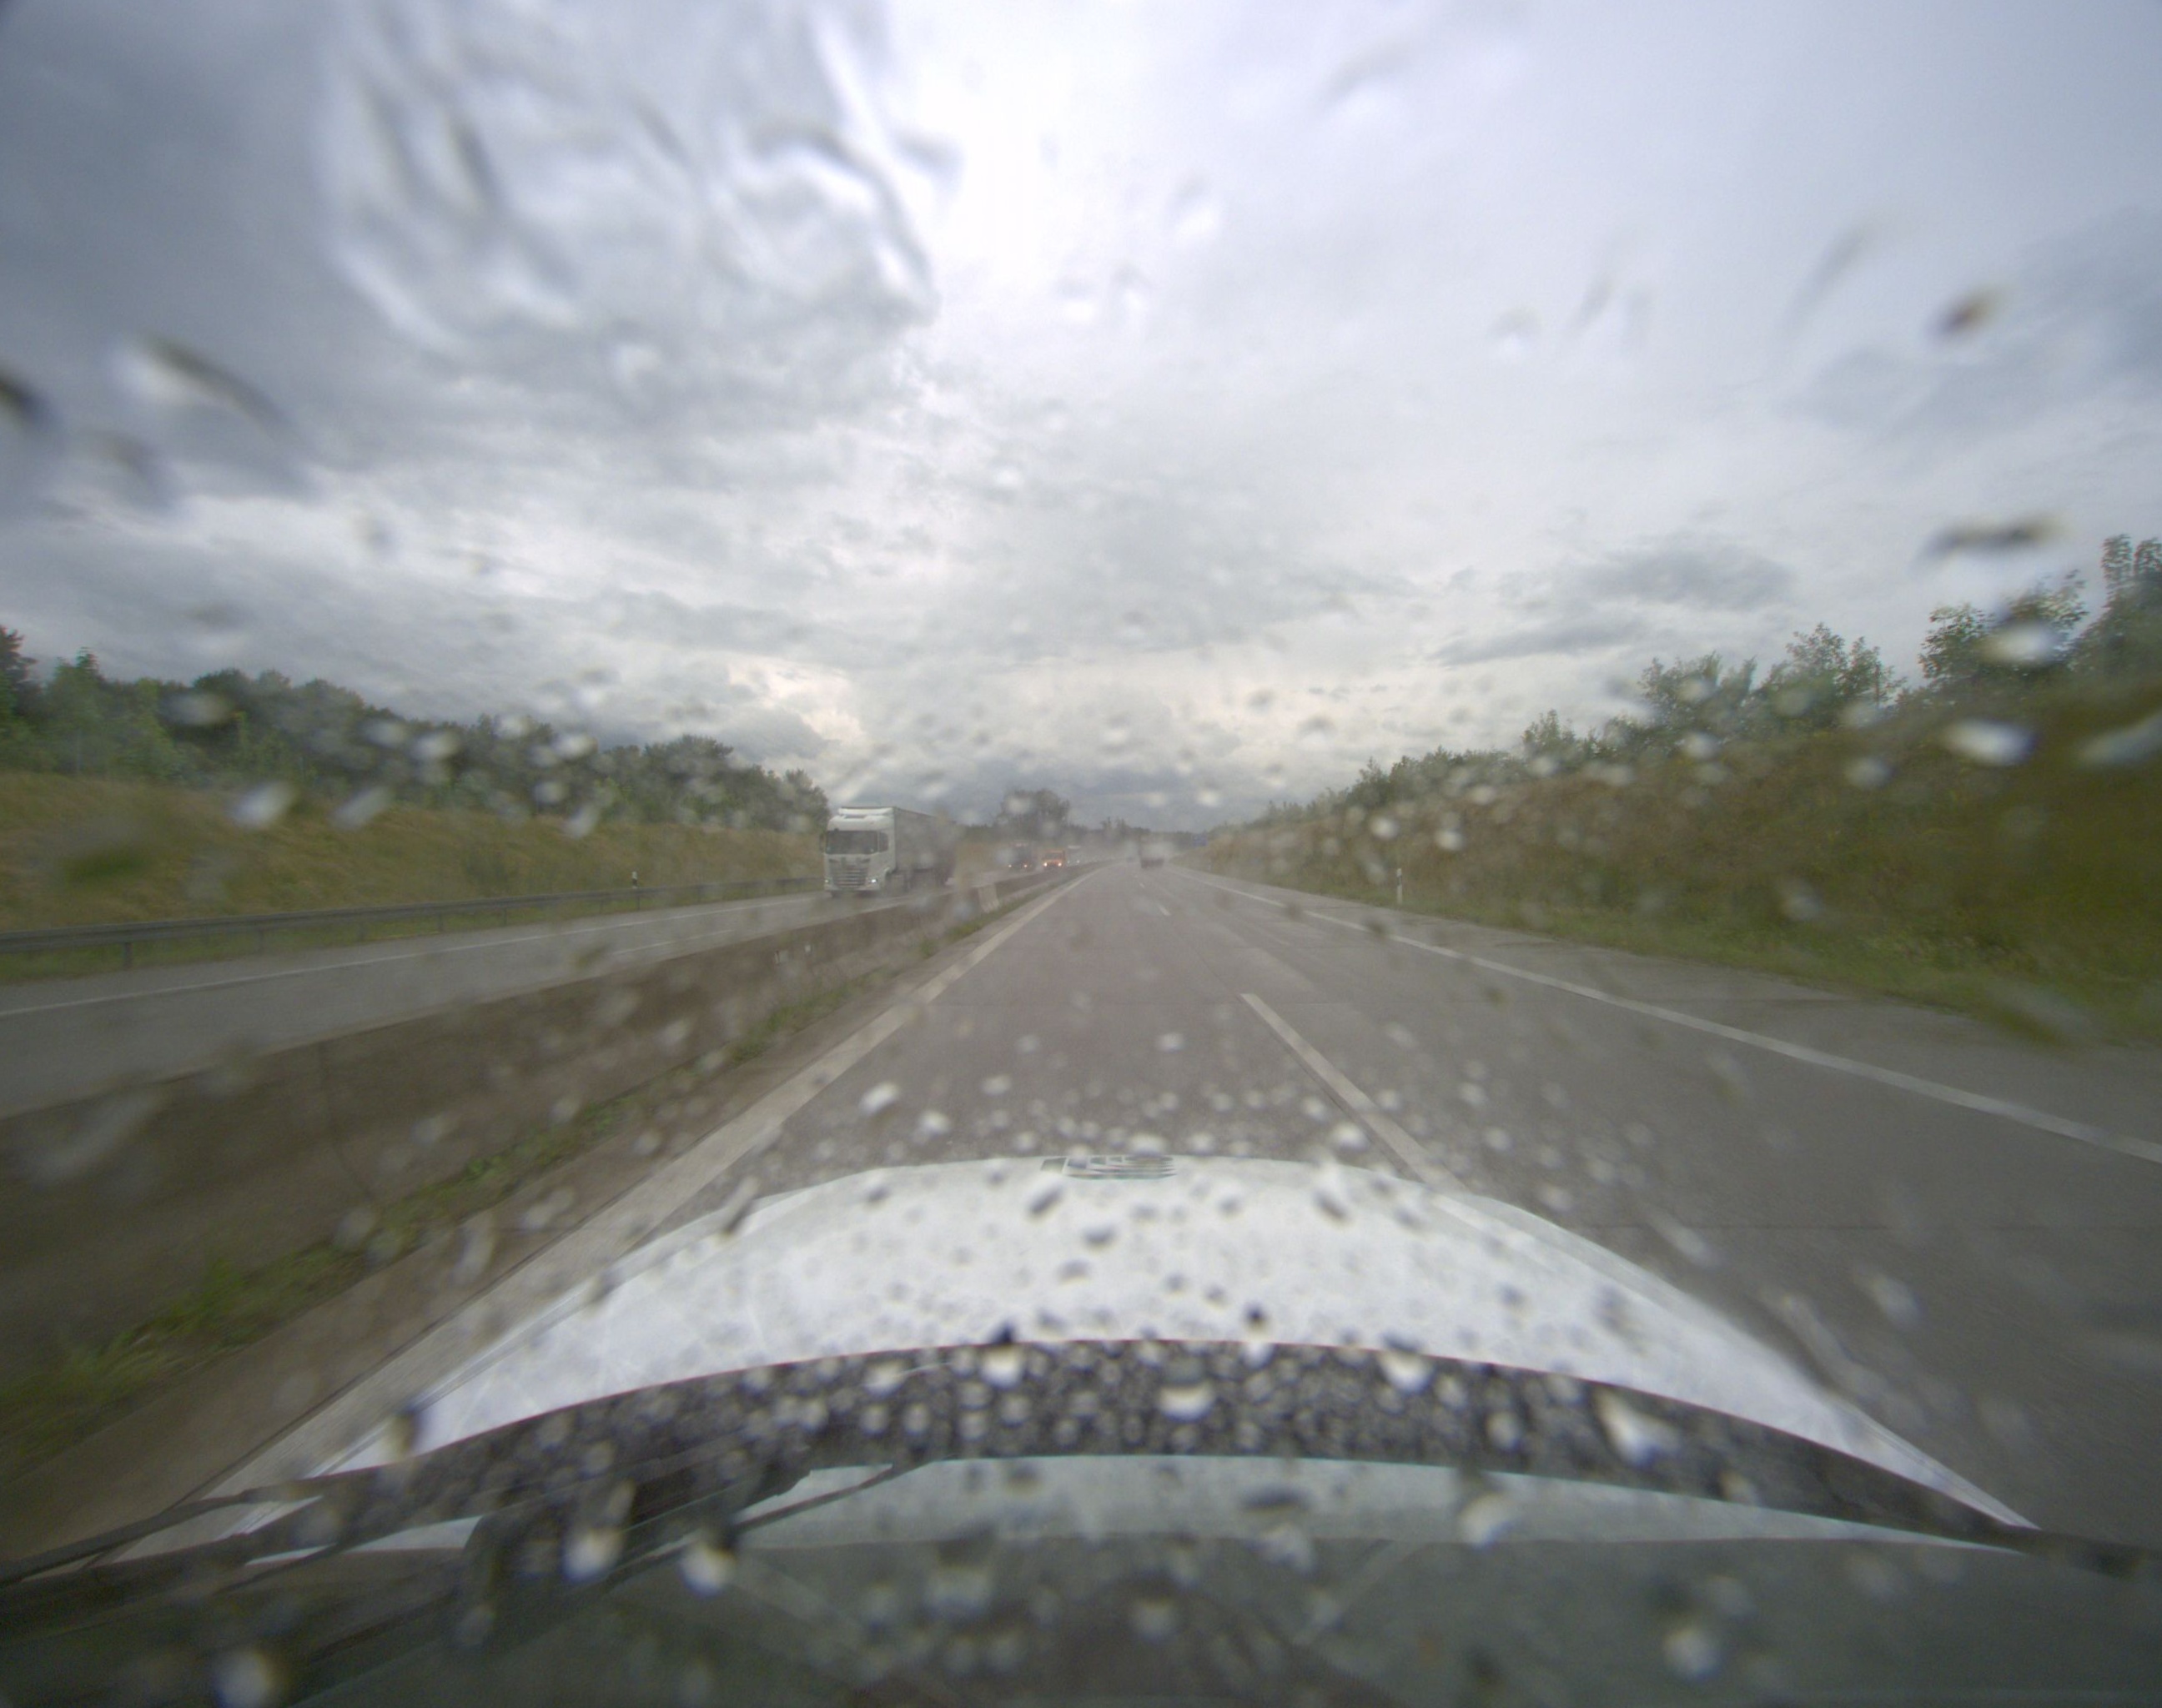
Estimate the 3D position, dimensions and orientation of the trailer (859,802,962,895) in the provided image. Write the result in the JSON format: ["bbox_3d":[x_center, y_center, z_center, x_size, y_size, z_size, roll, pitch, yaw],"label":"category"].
[{"bbox_3d":[-9.201,-0.270,45.581,2.836,4.520,11.346,0,0,3],"label":"trailer"}]

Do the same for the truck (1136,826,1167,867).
[{"bbox_3d":[8.003,-0.879,92.367,3.228,4.436,8.257,-1,1,5],"label":"truck"}]

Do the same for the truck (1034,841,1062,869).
[{"bbox_3d":[-3.485,0.122,87.105,2.323,2.782,6.165,-1,0,3],"label":"truck"}]

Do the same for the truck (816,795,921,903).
[{"bbox_3d":[-9.566,-0.193,37.501,2.809,4.520,6.629,0,0,3],"label":"truck"}]

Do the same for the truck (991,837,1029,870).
[{"bbox_3d":[-8.033,-0.029,93.477,3.155,3.533,8.371,-1,0,3],"label":"truck"}]
